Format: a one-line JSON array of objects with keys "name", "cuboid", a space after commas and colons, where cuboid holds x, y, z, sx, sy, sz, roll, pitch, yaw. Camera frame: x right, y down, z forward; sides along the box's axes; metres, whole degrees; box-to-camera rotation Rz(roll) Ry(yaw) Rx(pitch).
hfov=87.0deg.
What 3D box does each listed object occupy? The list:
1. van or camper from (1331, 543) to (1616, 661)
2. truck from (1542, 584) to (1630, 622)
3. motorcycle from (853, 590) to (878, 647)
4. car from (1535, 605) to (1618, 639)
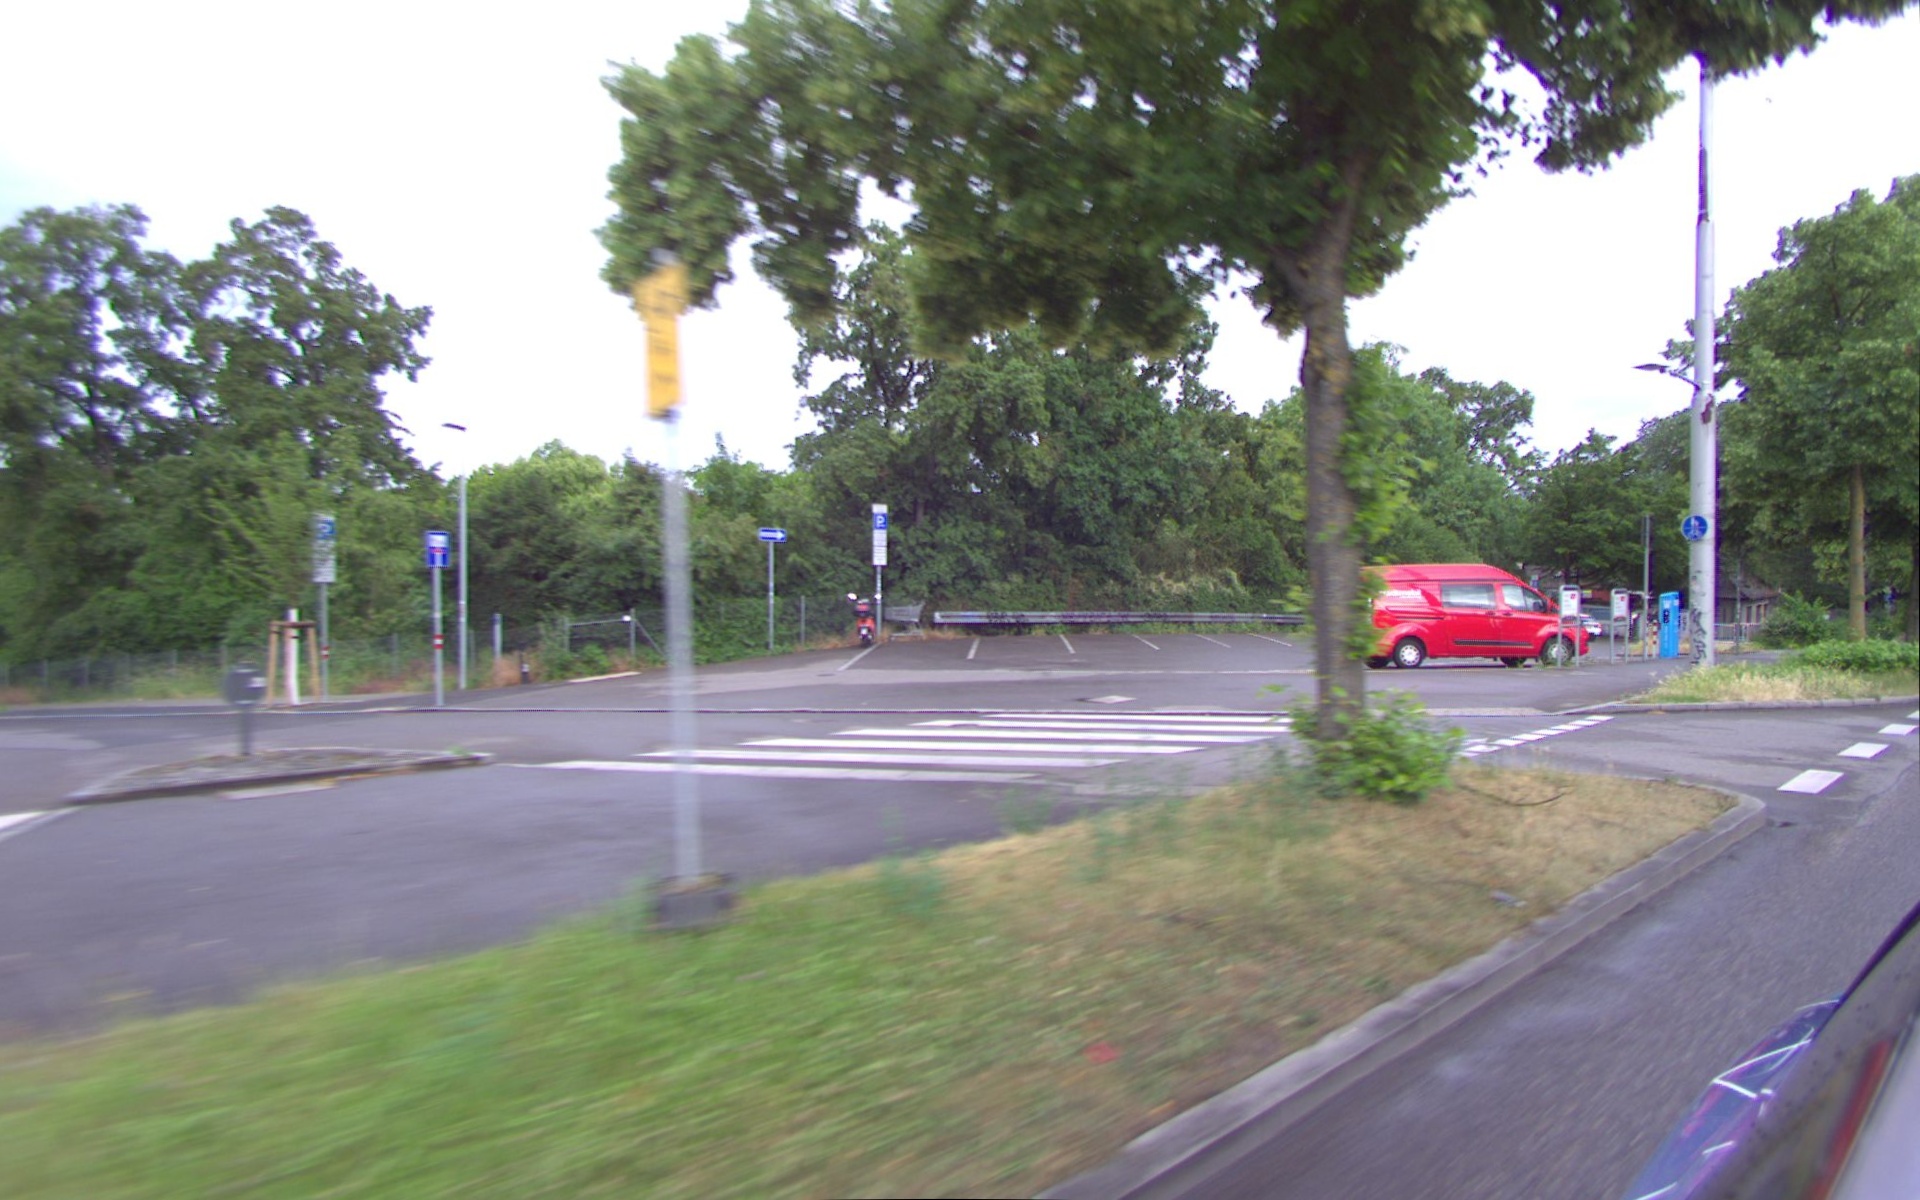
[{"name": "van or camper", "cuboid": [11.523, 0.093, 23.032, 5.292, 2.438, 2.039, -1, -3, 2]}, {"name": "truck", "cuboid": [50.892, 0.254, 82.320, 6.467, 2.903, 2.064, 1, 0, -14]}, {"name": "motorcycle", "cuboid": [-2.334, 0.443, 25.246, 0.464, 1.228, 2.027, -4, 4, -3]}, {"name": "car", "cuboid": [32.941, 1.144, 54.240, 1.966, 1.599, 4.642, 1, 1, 6]}]
